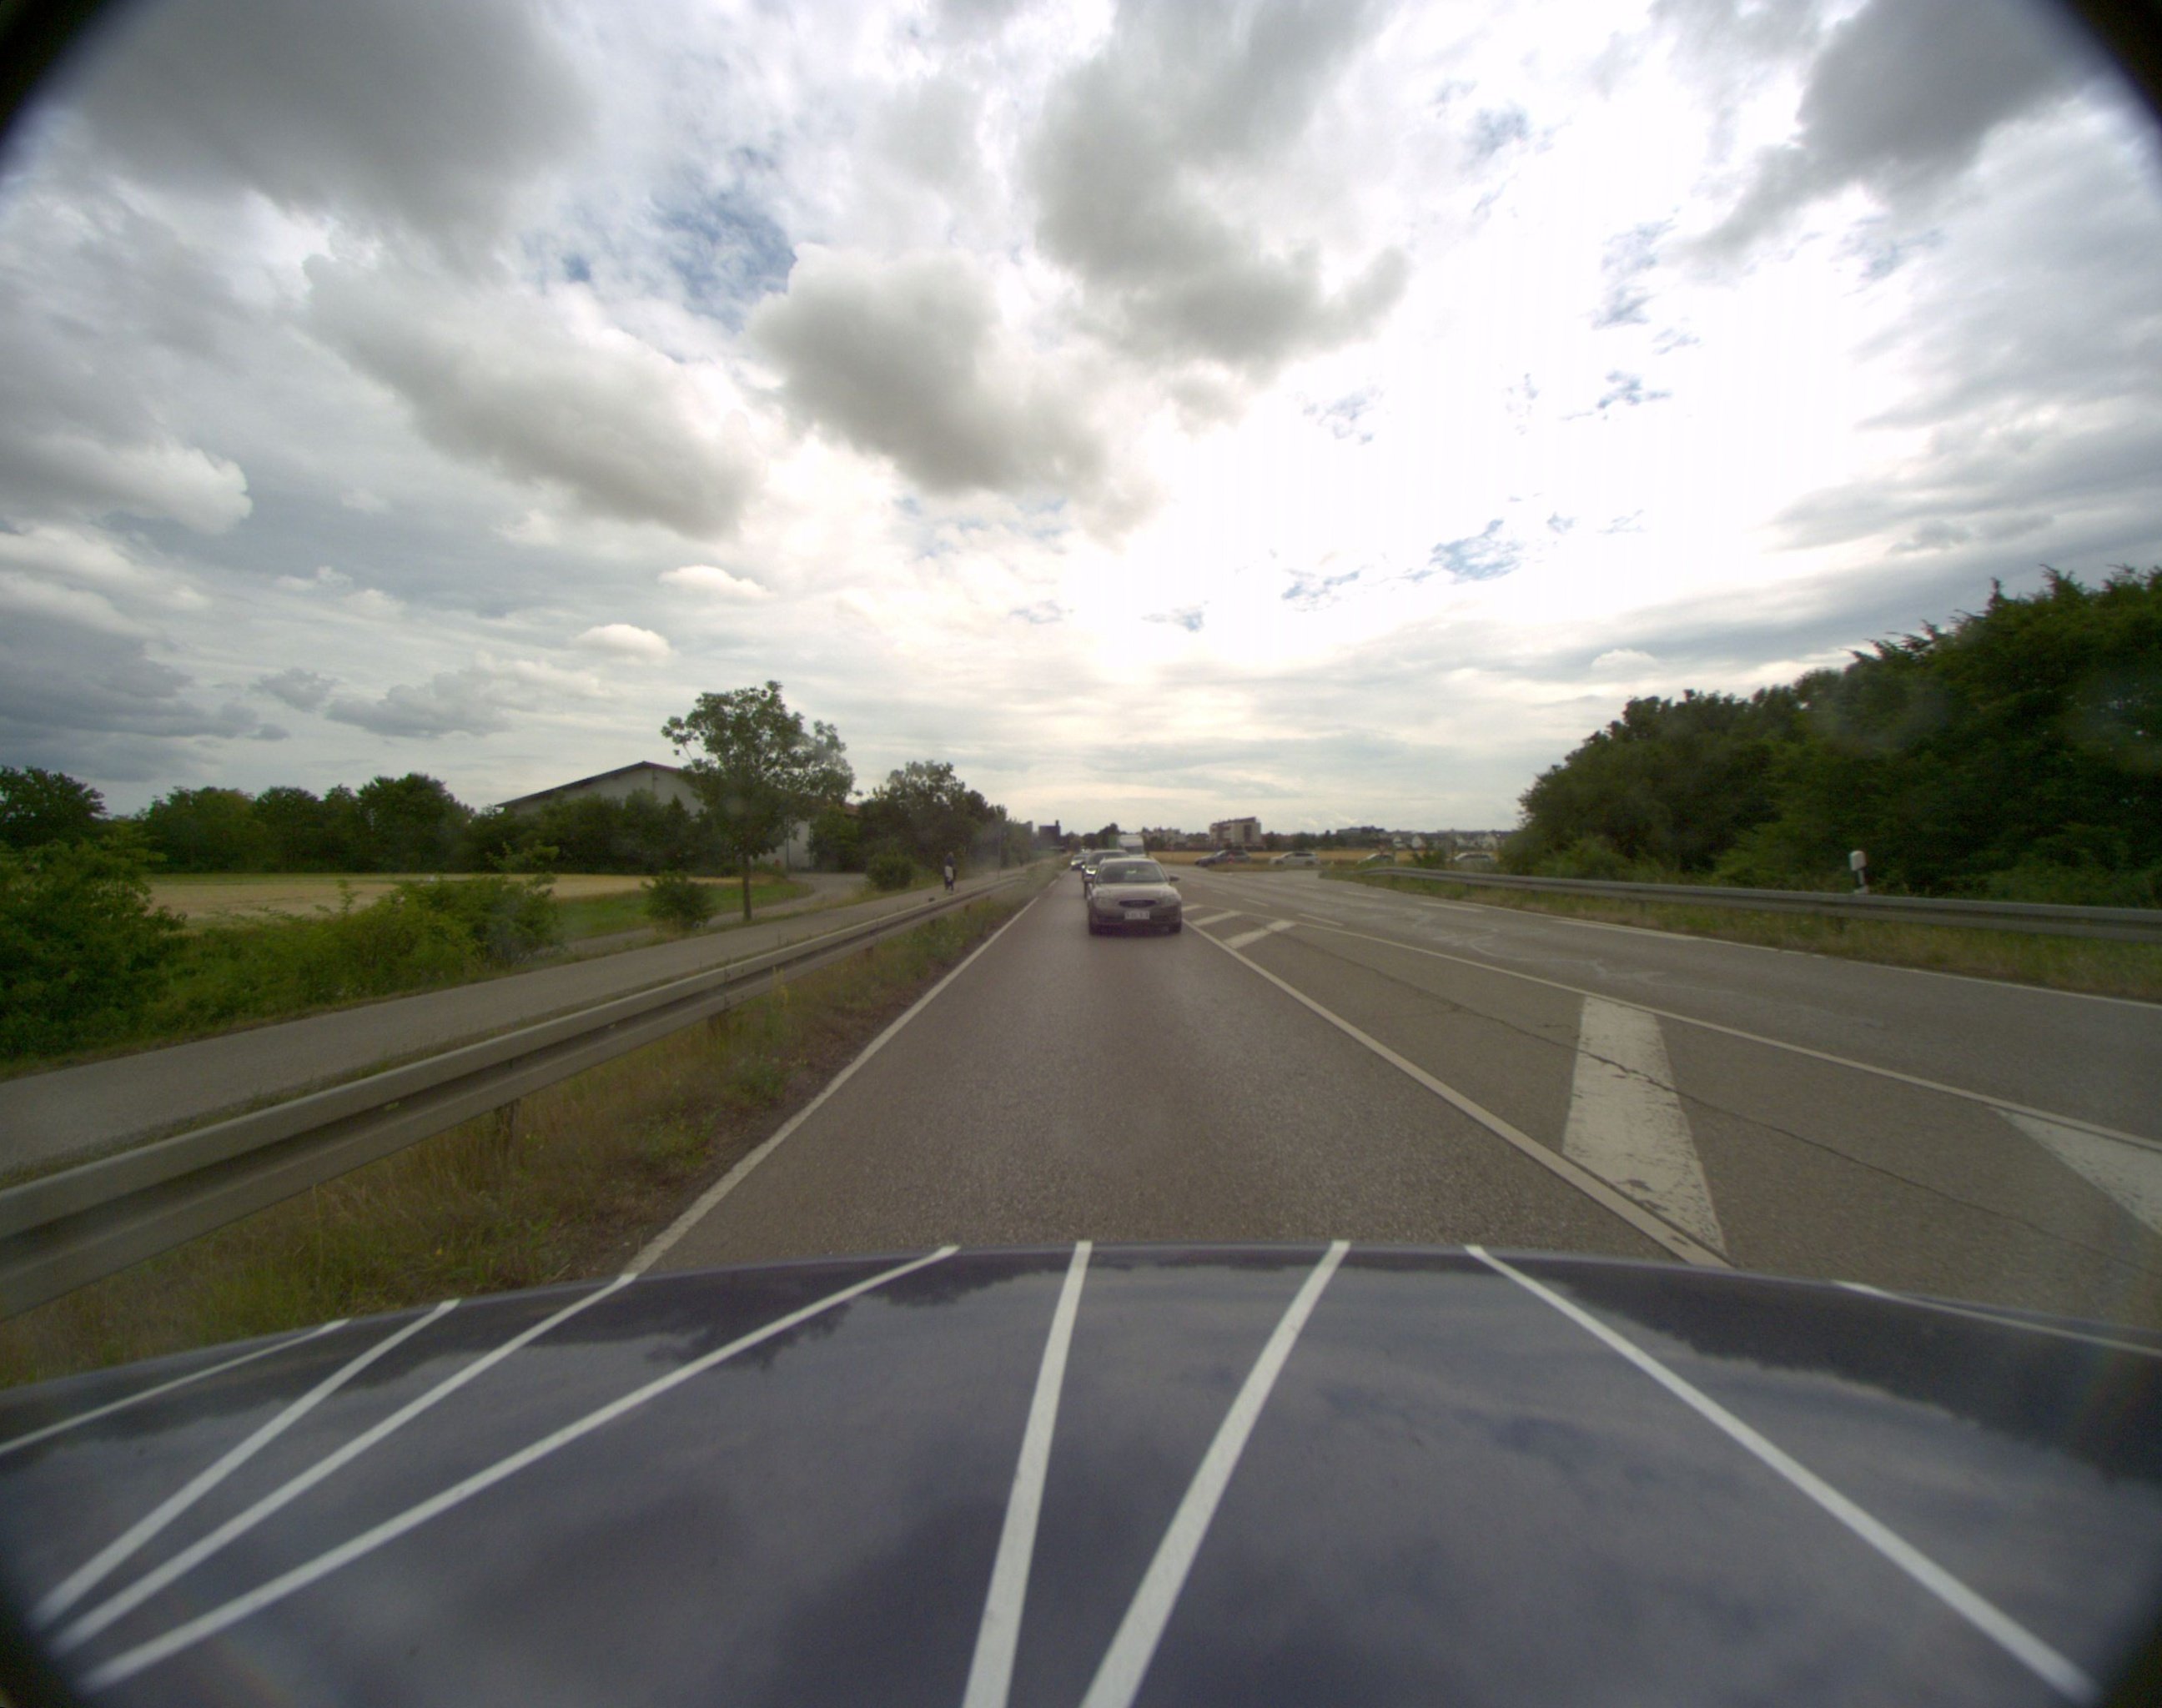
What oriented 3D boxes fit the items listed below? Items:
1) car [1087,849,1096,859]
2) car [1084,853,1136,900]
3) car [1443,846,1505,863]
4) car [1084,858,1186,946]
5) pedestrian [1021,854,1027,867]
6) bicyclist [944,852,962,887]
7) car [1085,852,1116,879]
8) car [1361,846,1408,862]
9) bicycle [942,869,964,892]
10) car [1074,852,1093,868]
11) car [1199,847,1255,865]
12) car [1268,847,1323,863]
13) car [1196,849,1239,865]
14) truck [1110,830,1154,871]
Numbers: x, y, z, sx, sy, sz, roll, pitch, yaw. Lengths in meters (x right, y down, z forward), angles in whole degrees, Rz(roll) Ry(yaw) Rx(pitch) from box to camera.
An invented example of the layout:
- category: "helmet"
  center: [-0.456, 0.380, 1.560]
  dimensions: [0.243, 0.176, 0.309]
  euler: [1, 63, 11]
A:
- category: "car"
  center: [2.360, -0.077, 168.158]
  dimensions: [1.998, 2.002, 3.999]
  euler: [-2, 1, 1]
- category: "car"
  center: [1.013, 0.757, 28.081]
  dimensions: [1.730, 1.534, 4.204]
  euler: [-1, 0, 0]
- category: "car"
  center: [35.817, 0.070, 69.340]
  dimensions: [4.673, 1.490, 2.001]
  euler: [-1, 1, 7]
- category: "car"
  center: [0.953, 0.855, 15.383]
  dimensions: [1.730, 1.436, 4.204]
  euler: [-1, 0, 0]
- category: "pedestrian"
  center: [-6.605, 0.781, 88.016]
  dimensions: [0.592, 1.512, 0.501]
  euler: [-2, 1, 7]
- category: "bicyclist"
  center: [-5.949, 0.721, 35.336]
  dimensions: [0.640, 1.573, 0.969]
  euler: [-1, 1, 1]
- category: "car"
  center: [1.121, 0.672, 45.922]
  dimensions: [1.730, 1.478, 4.204]
  euler: [-2, 0, 0]
- category: "car"
  center: [27.977, -0.011, 70.154]
  dimensions: [3.714, 1.490, 1.731]
  euler: [-1, 1, 7]
- category: "bicycle"
  center: [-5.934, 1.237, 35.365]
  dimensions: [0.640, 0.972, 2.072]
  euler: [-1, 1, 1]
- category: "car"
  center: [0.232, 0.545, 71.392]
  dimensions: [1.730, 1.436, 4.204]
  euler: [-2, 0, 0]
- category: "car"
  center: [13.719, 0.170, 71.544]
  dimensions: [4.816, 1.680, 1.999]
  euler: [-1, 1, -4]
- category: "car"
  center: [20.090, 0.099, 71.314]
  dimensions: [4.673, 1.490, 2.001]
  euler: [-1, 1, 7]
- category: "car"
  center: [13.623, 0.301, 75.681]
  dimensions: [3.829, 1.481, 2.003]
  euler: [-1, 1, 23]
- category: "truck"
  center: [4.729, -0.368, 72.099]
  dimensions: [2.932, 3.541, 7.601]
  euler: [-2, 1, -5]
